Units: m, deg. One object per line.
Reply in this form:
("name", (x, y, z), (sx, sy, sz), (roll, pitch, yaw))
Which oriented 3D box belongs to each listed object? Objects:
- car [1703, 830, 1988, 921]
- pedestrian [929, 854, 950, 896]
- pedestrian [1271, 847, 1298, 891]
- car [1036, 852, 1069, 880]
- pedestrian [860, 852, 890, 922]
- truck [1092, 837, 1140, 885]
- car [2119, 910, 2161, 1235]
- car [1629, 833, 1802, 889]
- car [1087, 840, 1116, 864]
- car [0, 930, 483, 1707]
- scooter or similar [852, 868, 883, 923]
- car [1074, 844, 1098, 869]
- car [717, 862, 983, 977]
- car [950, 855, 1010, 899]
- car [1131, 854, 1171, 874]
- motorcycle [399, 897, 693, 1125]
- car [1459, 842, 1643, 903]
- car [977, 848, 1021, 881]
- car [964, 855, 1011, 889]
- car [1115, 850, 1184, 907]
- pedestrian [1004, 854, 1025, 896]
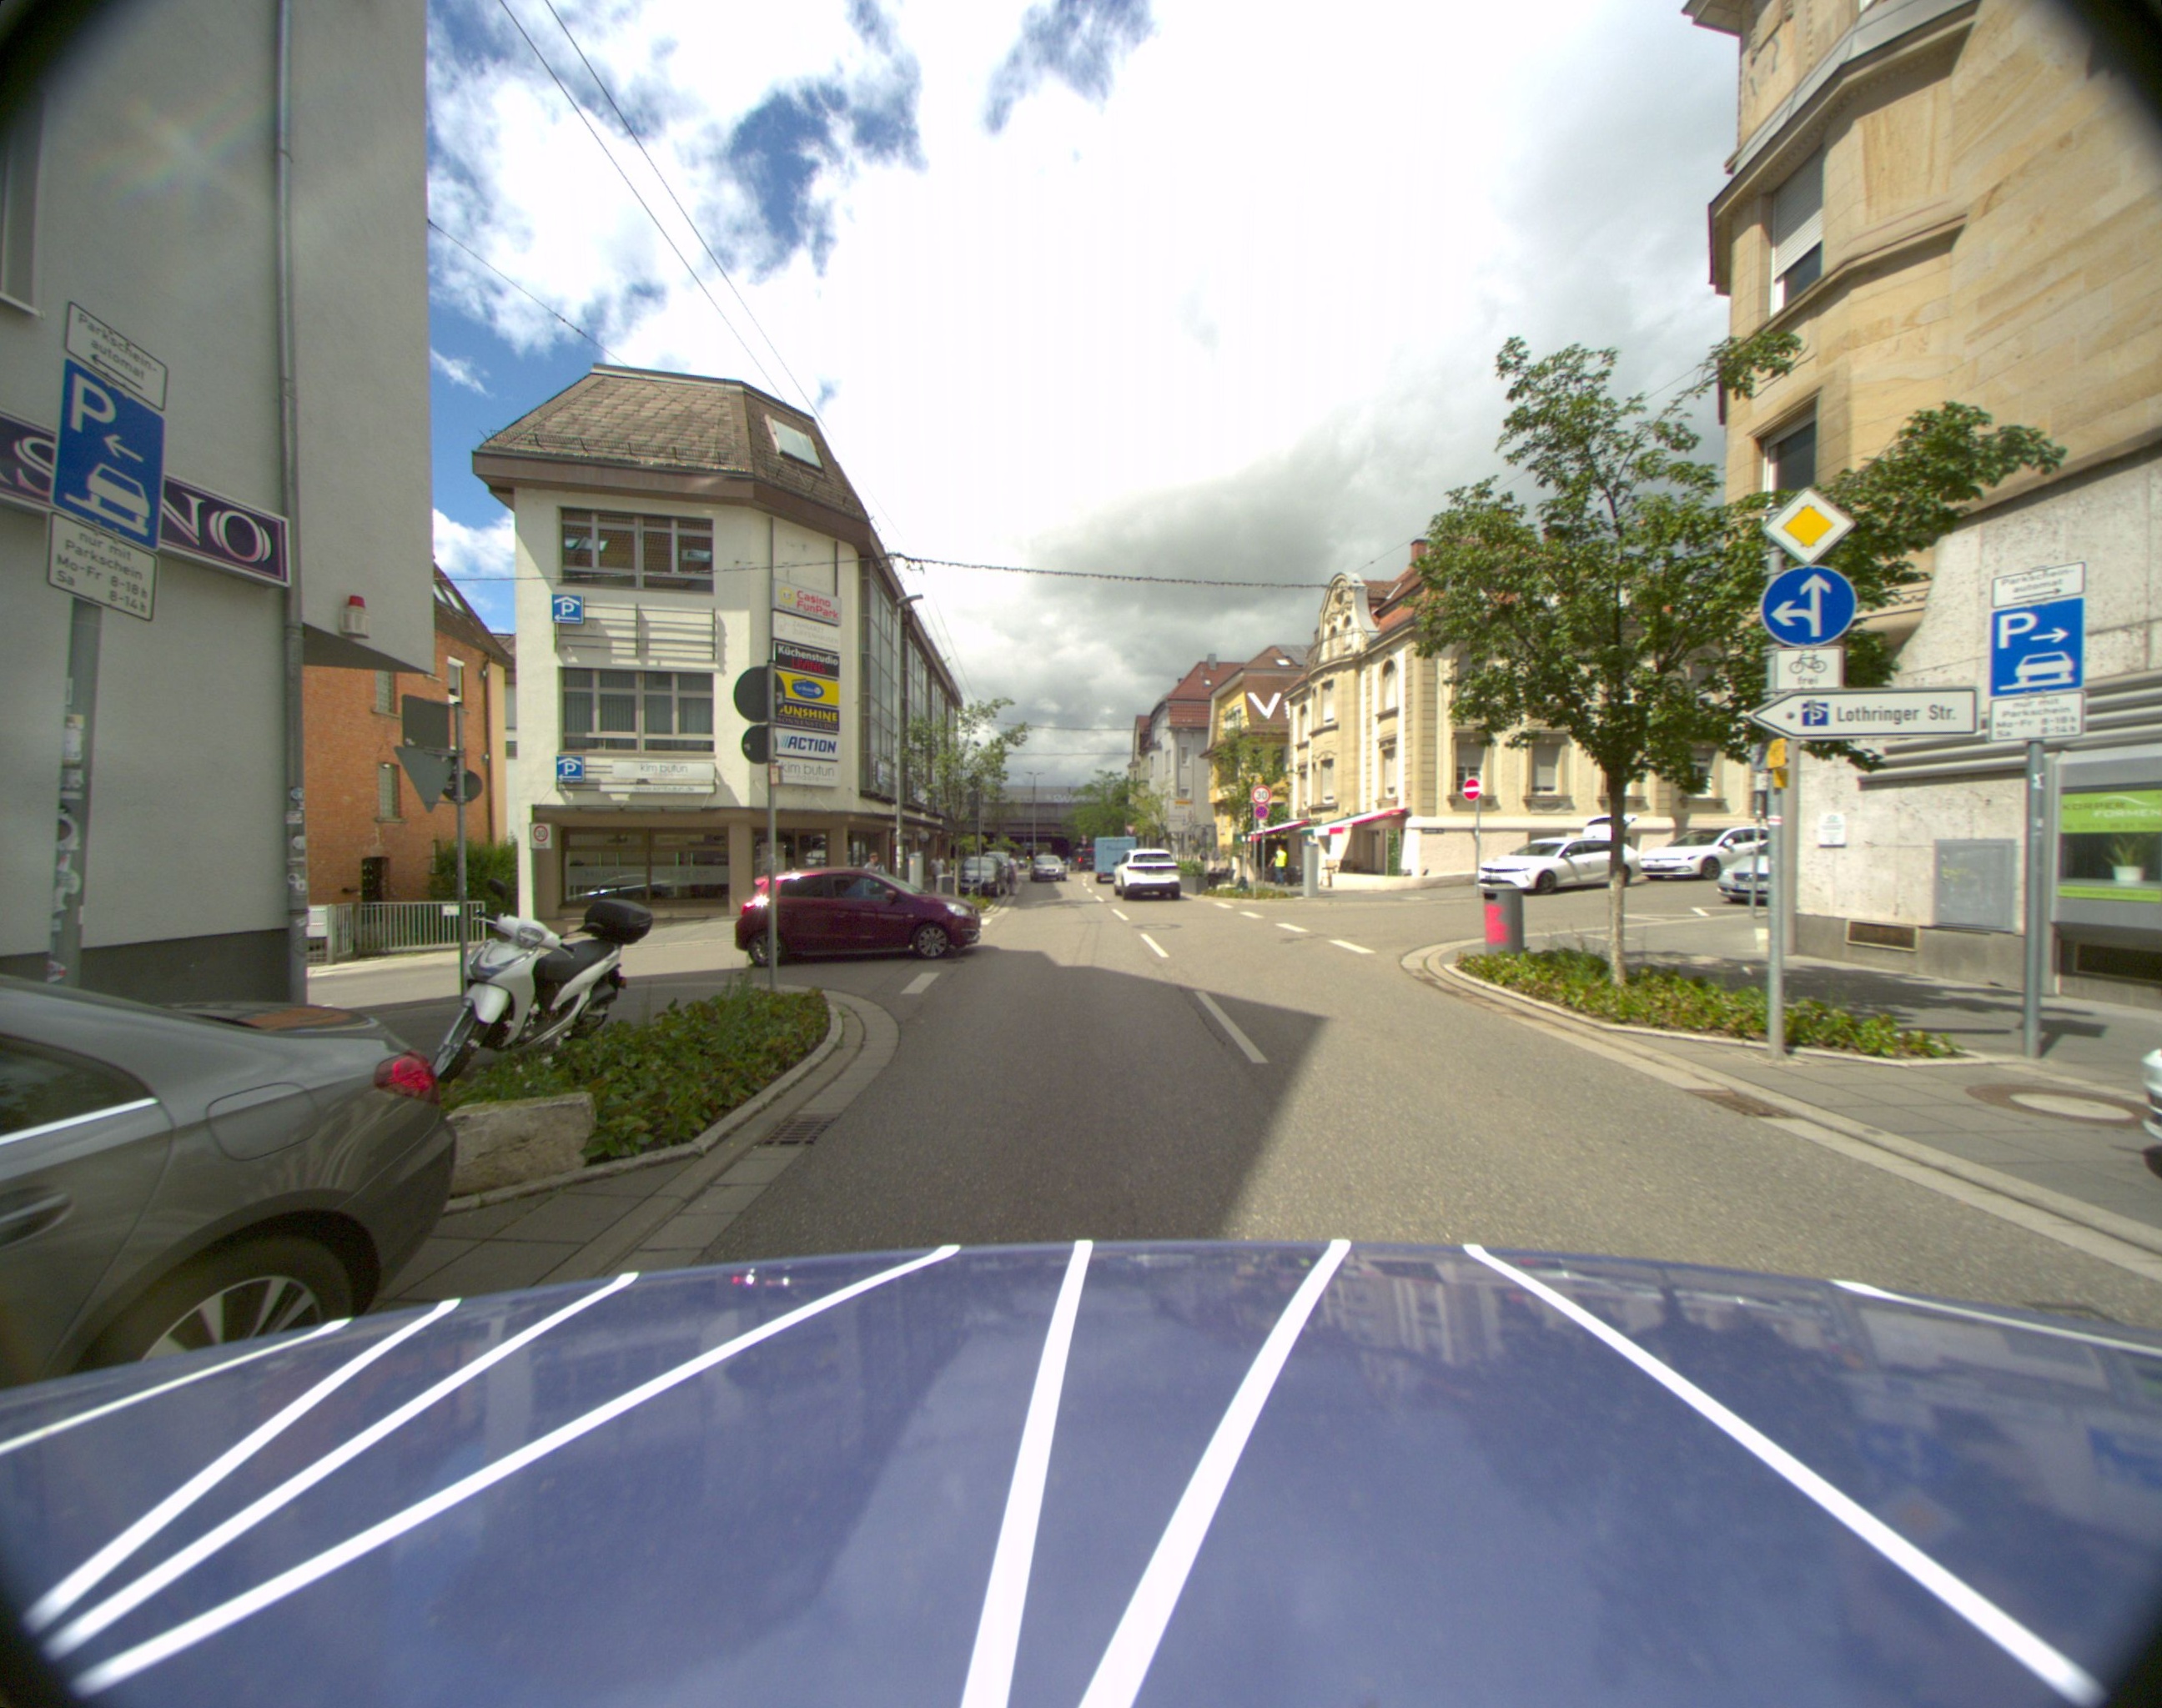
("car", (15.709, 0.393, 15.739), (4.218, 1.552, 1.998), (-3, 1, -8))
("pedestrian", (-5.408, 0.790, 29.131), (0.661, 1.553, 0.477), (-2, 2, -2))
("pedestrian", (8.435, 0.607, 31.481), (0.801, 1.746, 0.812), (-2, 2, -7))
("car", (-1.586, 0.665, 43.445), (1.724, 1.517, 3.597), (0, 1, 0))
("pedestrian", (-5.134, 0.821, 18.932), (0.572, 1.693, 0.481), (-2, 2, -5))
("truck", (1.761, 0.272, 40.599), (2.112, 2.292, 6.474), (-2, 1, -1))
("car", (5.601, 0.955, 1.400), (1.850, 1.390, 4.035), (-2, 1, -1))
("car", (18.773, 0.183, 22.527), (4.235, 1.373, 1.829), (-3, 1, -15))
("car", (2.360, -0.254, 89.774), (2.310, 2.657, 7.264), (-2, 1, -6))
("car", (-2.952, 1.019, 0.312), (1.710, 1.412, 4.319), (-2, 1, 4))
("scooter or similar", (-5.322, 1.015, 19.022), (0.432, 1.273, 1.249), (-2, 1, -3))
("car", (0.390, 0.223, 62.956), (1.876, 1.921, 5.176), (-1, 0, -1))
("car", (-3.526, 0.984, 12.152), (3.757, 1.521, 1.536), (-2, 1, -4))
("car", (-3.714, 0.791, 28.562), (1.719, 1.445, 4.551), (-1, 0, -1))
("car", (4.694, 0.681, 51.415), (1.722, 1.296, 4.463), (-1, 0, -7))
("motorcycle", (-4.008, 1.070, 6.027), (0.660, 1.252, 2.375), (-2, 1, -2))
("car", (13.085, 0.464, 21.208), (4.391, 1.373, 1.997), (-3, 1, -18))
("car", (-4.416, 0.544, 41.500), (1.825, 1.652, 4.466), (1, 1, 1))
("car", (-4.387, 0.810, 36.140), (1.857, 1.436, 4.534), (-1, 0, -3))
("car", (2.220, 0.738, 25.492), (1.792, 1.630, 4.114), (-2, 1, -1))
("pedestrian", (-2.580, 0.819, 29.418), (0.584, 1.591, 0.549), (-1, 2, 19))
